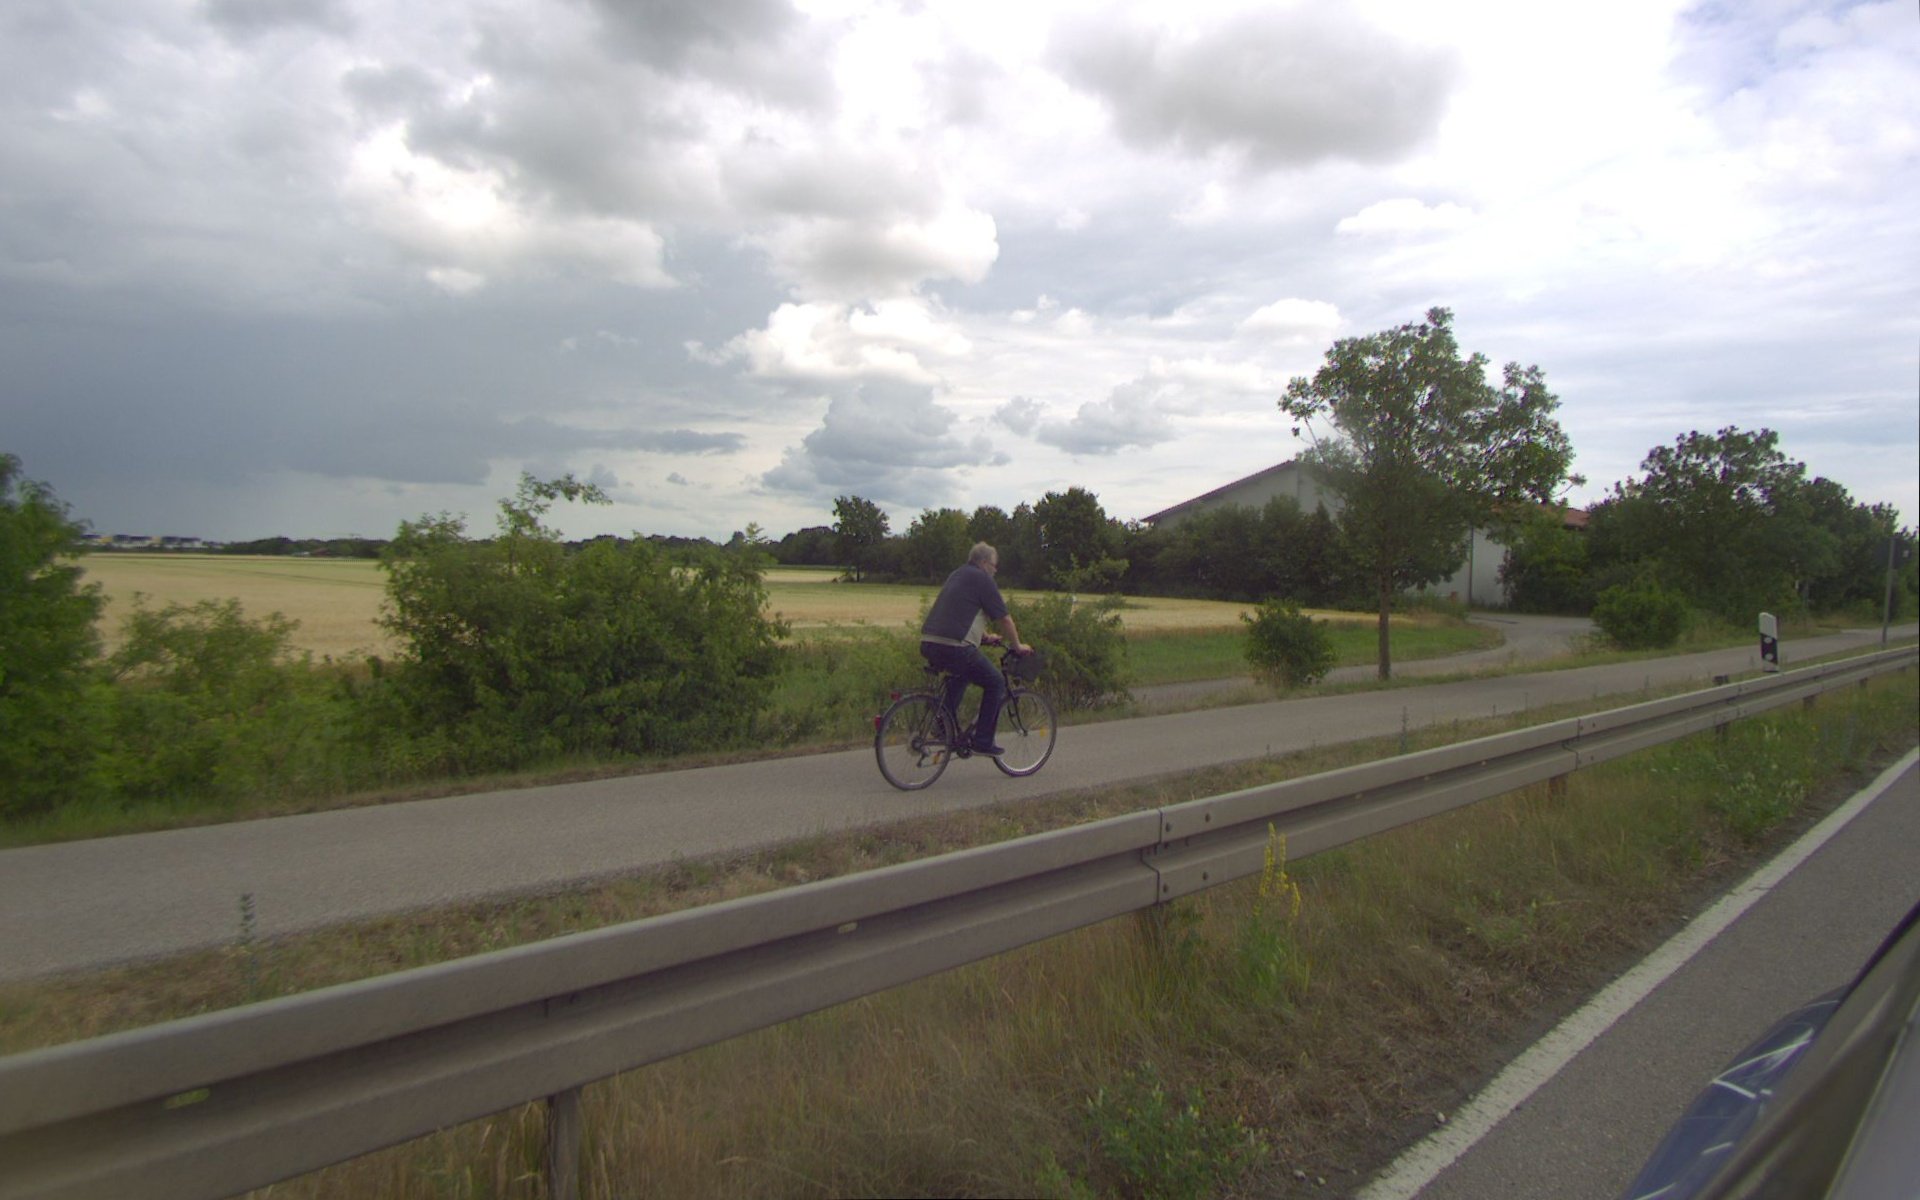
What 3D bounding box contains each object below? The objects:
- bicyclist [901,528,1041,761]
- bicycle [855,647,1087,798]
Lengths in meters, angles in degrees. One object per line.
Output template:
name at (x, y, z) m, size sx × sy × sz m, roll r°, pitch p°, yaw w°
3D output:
bicyclist at (0.085, 0.306, 7.765) m, size 0.851 × 1.665 × 0.648 m, roll 0°, pitch 1°, yaw -41°
bicycle at (0.123, 0.884, 7.806) m, size 1.798 × 0.931 × 0.667 m, roll 0°, pitch 2°, yaw -41°
